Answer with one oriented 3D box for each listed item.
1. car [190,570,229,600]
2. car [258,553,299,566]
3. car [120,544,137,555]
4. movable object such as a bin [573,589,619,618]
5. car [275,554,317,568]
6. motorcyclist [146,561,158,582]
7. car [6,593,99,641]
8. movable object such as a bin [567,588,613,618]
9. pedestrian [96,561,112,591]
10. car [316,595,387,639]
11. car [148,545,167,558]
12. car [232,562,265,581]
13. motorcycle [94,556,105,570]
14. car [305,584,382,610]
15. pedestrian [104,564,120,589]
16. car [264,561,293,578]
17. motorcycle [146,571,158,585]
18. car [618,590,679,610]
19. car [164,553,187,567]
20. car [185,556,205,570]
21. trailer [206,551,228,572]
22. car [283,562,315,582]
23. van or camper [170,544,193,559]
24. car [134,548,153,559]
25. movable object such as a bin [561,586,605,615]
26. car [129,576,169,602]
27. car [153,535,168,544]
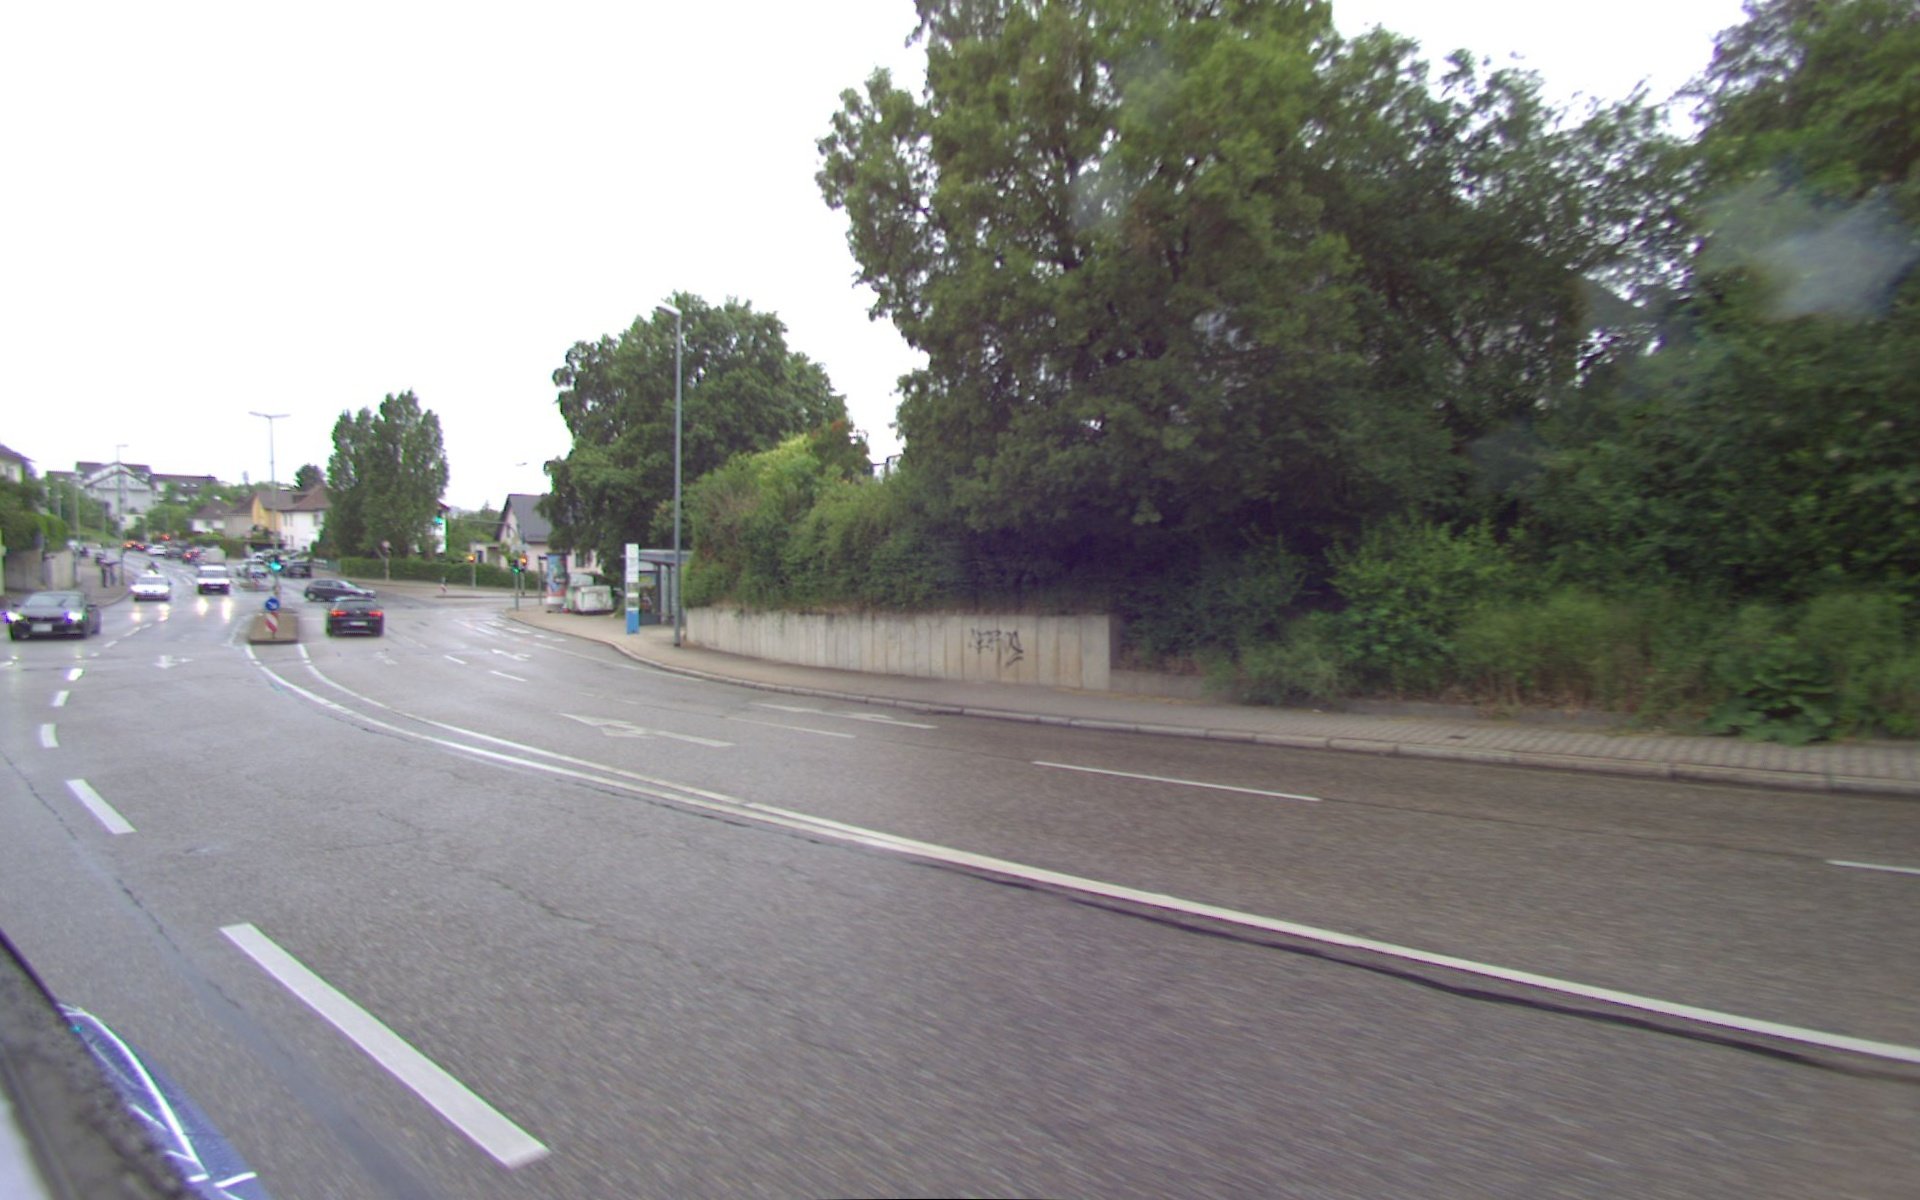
[{"bbox_3d":[-52.890,-1.076,71.324,1.927,1.884,4.755,0,3,-40],"label":"car"},{"bbox_3d":[-86.533,-5.150,128.534,4.051,1.430,1.886,-3,5,-44],"label":"car"},{"bbox_3d":[-127.350,-7.694,154.997,1.692,1.513,4.004,-1,4,-44],"label":"car"},{"bbox_3d":[-19.327,0.180,53.717,2.029,1.526,1.348,0,1,-32],"label":"movable object such as a bin"},{"bbox_3d":[-79.526,-4.682,121.274,3.941,1.430,1.886,-5,6,-43],"label":"car"},{"bbox_3d":[-65.948,-2.327,82.563,0.750,1.614,0.810,0,4,-38],"label":"motorcyclist"},{"bbox_3d":[-29.530,0.524,33.048,1.811,1.468,4.010,0,0,-35],"label":"car"},{"bbox_3d":[-20.114,0.131,54.986,2.029,1.580,1.586,0,1,-32],"label":"movable object such as a bin"},{"bbox_3d":[-60.649,-1.702,71.732,0.786,2.028,0.736,-1,4,-37],"label":"pedestrian"},{"bbox_3d":[-22.769,0.604,37.797,1.867,1.498,4.244,1,1,-37],"label":"car"},{"bbox_3d":[-111.065,-6.761,140.044,1.813,1.567,4.778,0,4,-41],"label":"car"},{"bbox_3d":[-67.122,-2.697,95.495,1.802,1.669,4.470,0,3,-45],"label":"car"},{"bbox_3d":[-89.005,-3.856,104.659,0.684,1.334,2.481,0,3,-45],"label":"motorcycle"},{"bbox_3d":[-40.947,-0.244,67.266,4.005,1.498,1.840,2,3,3],"label":"car"},{"bbox_3d":[-61.501,-1.704,73.392,0.783,1.793,1.014,1,3,-37],"label":"pedestrian"},{"bbox_3d":[-68.532,-3.071,101.794,1.783,1.580,4.148,-1,4,-43],"label":"car"},{"bbox_3d":[-65.976,-1.794,82.620,0.751,0.959,2.447,0,4,-38],"label":"motorcycle"},{"bbox_3d":[-25.978,-0.026,84.450,1.913,1.539,4.591,4,4,39],"label":"car"},{"bbox_3d":[-100.538,-5.077,129.694,1.970,1.585,4.005,0,4,-43],"label":"car"},{"bbox_3d":[-90.096,-4.359,119.143,1.817,1.563,4.394,1,3,-38],"label":"car"},{"bbox_3d":[-79.112,-4.108,107.733,1.871,2.195,4.045,0,2,-37],"label":"trailer"},{"bbox_3d":[-63.542,-2.687,97.239,1.783,1.681,4.604,-1,4,-43],"label":"car"},{"bbox_3d":[-115.895,-7.212,150.618,2.159,2.028,5.139,-1,4,-45],"label":"van or camper"},{"bbox_3d":[-121.787,-6.955,150.946,1.832,1.475,4.003,-1,4,-44],"label":"car"},{"bbox_3d":[-20.986,0.018,56.329,2.029,1.580,1.586,0,1,-32],"label":"movable object such as a bin"},{"bbox_3d":[-50.238,-0.716,62.658,1.813,1.492,4.007,0,2,-40],"label":"car"},{"bbox_3d":[-151.525,-11.452,191.820,1.970,1.585,4.005,-1,4,-43],"label":"car"}]
